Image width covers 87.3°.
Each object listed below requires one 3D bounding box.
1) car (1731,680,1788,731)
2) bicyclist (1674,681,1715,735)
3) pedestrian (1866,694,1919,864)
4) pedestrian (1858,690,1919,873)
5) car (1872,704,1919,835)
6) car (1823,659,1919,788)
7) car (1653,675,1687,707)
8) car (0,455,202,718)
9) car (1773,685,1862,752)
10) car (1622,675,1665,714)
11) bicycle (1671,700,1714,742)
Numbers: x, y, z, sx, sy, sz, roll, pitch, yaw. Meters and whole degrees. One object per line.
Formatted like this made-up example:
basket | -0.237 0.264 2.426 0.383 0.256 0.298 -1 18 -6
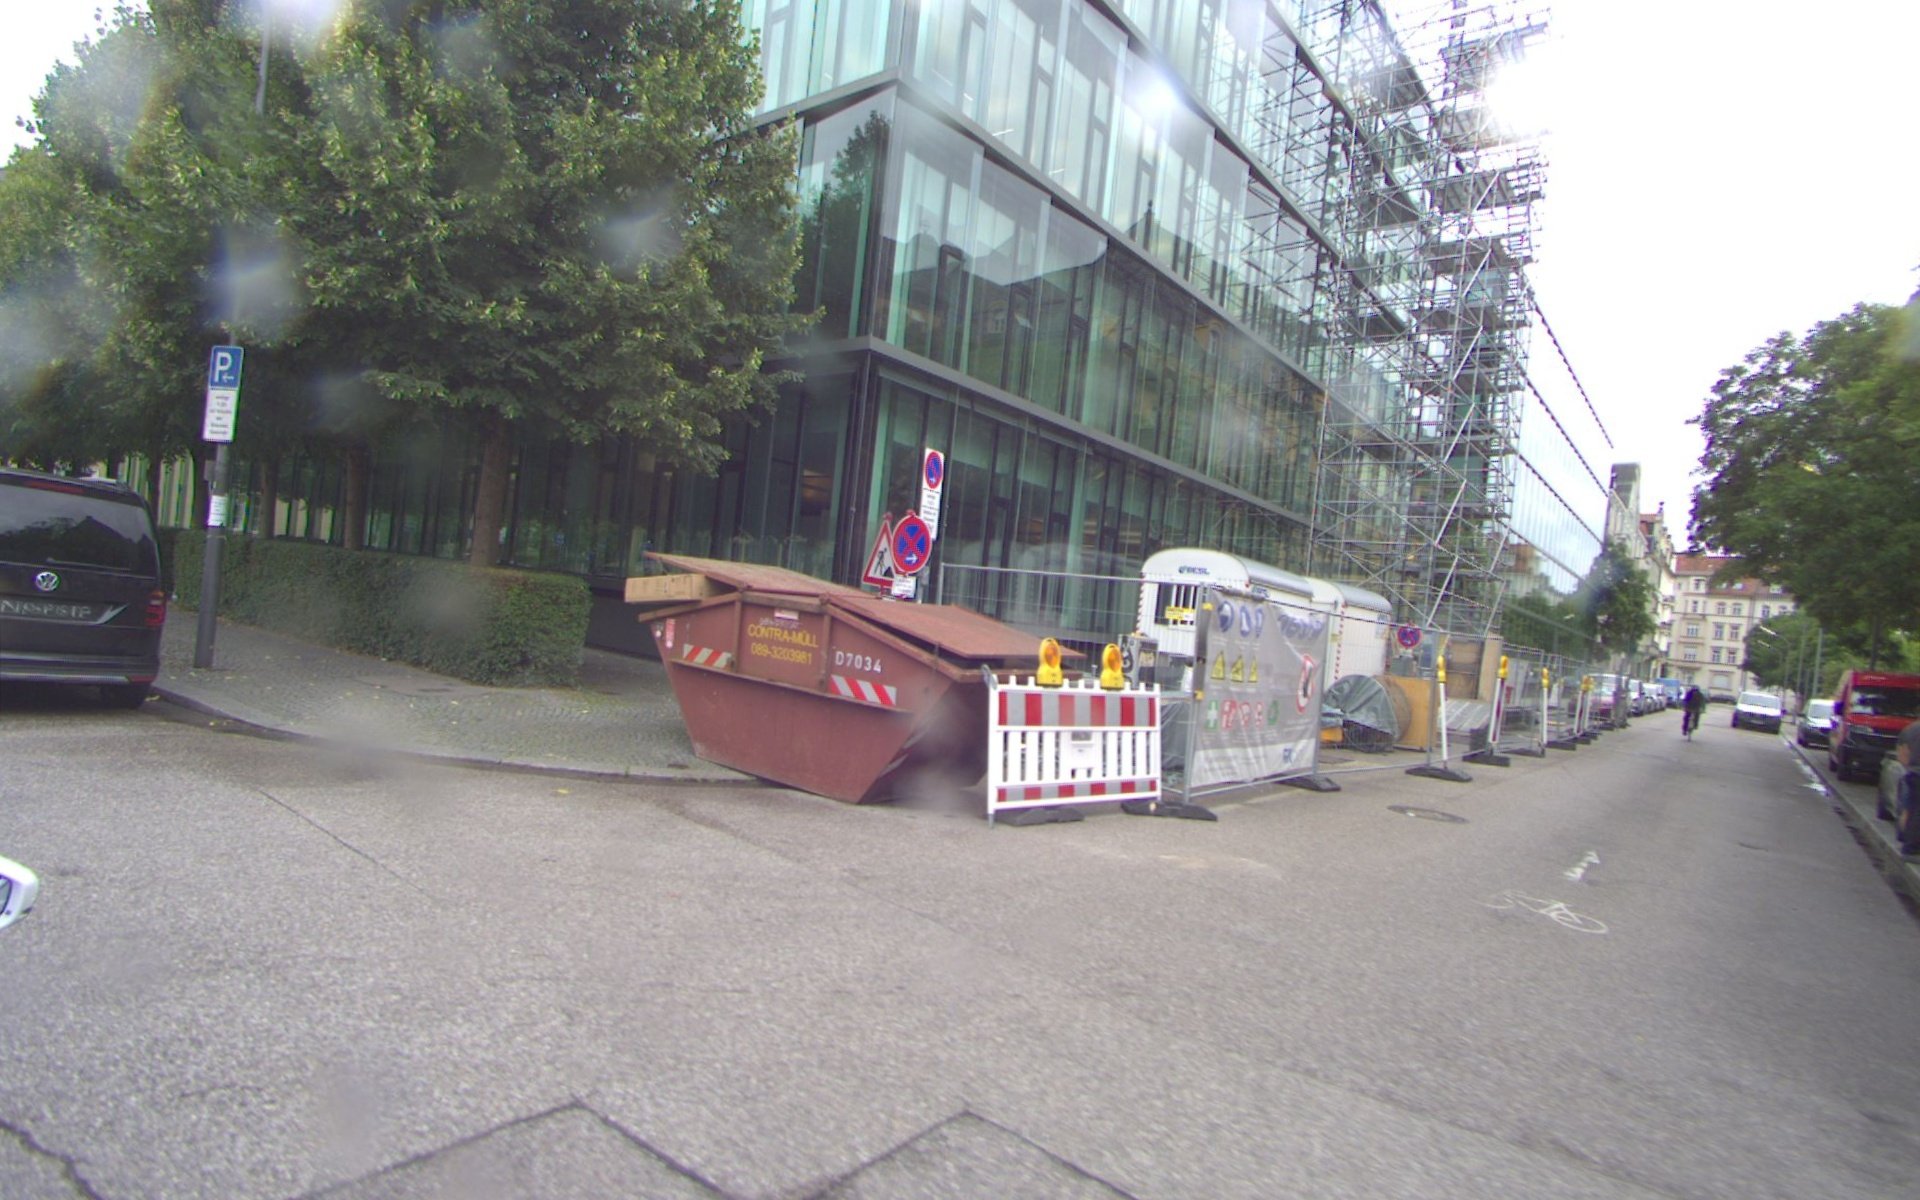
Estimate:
car | 39.733 5.284 50.062 1.971 2.102 3.989 5 -4 38
bicyclist | 23.589 3.466 32.313 0.800 1.595 0.972 7 0 44
pedestrian | 10.536 1.966 11.050 0.579 1.774 0.560 6 1 24
pedestrian | 10.176 1.919 10.608 0.672 1.833 0.672 6 1 15
car | 13.070 2.193 12.784 1.842 1.504 3.989 5 -1 39
car | 21.032 2.754 22.597 2.123 2.492 5.672 5 -1 39
car | 59.438 7.644 84.159 1.971 2.139 4.512 5 -4 38
car | -8.307 -0.250 8.448 4.073 1.845 1.762 6 -1 34
car | 31.534 4.321 37.093 1.969 2.038 3.988 6 -1 36
car | 45.834 6.349 67.403 1.971 2.139 4.512 5 -4 38
bicycle | 23.577 3.906 32.356 0.753 1.155 2.252 5 -4 44
